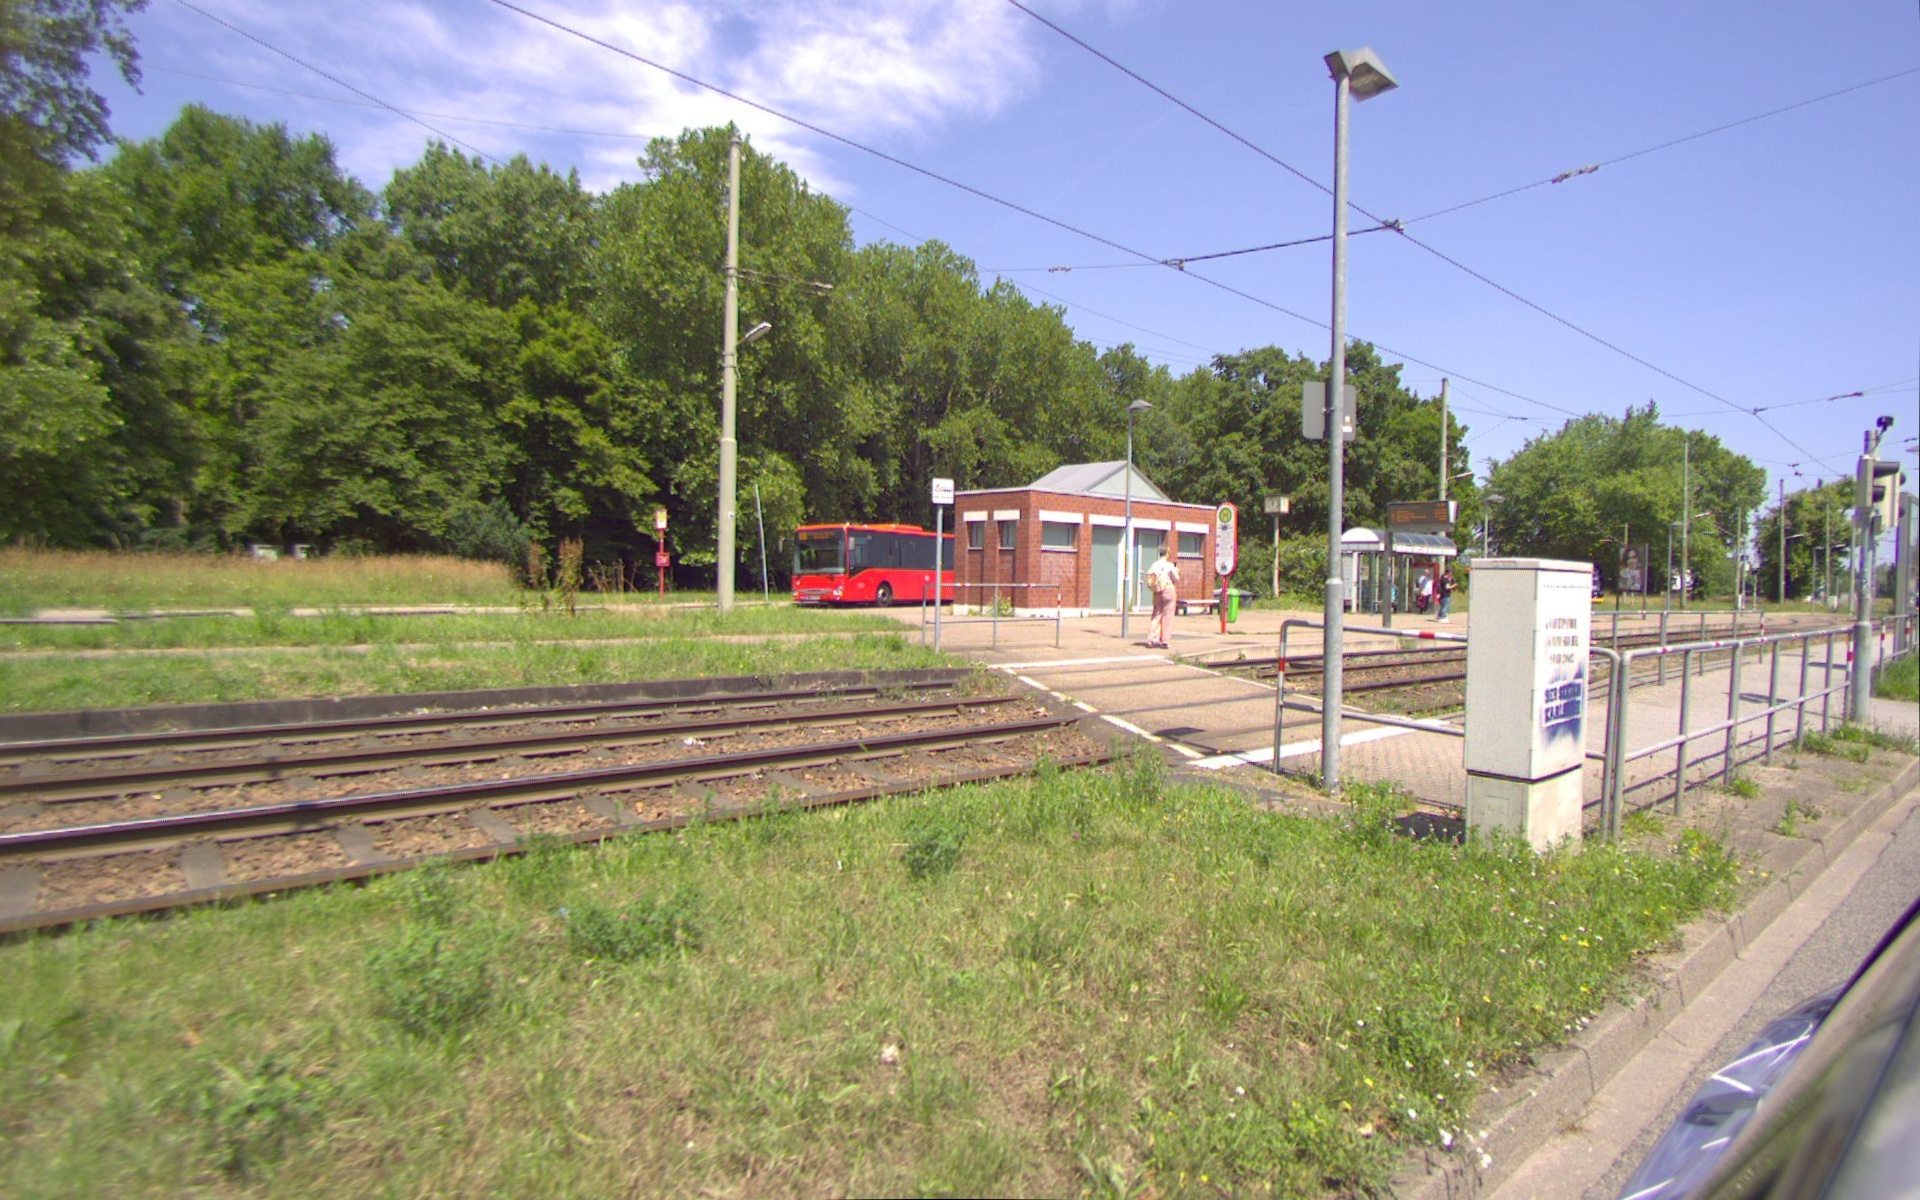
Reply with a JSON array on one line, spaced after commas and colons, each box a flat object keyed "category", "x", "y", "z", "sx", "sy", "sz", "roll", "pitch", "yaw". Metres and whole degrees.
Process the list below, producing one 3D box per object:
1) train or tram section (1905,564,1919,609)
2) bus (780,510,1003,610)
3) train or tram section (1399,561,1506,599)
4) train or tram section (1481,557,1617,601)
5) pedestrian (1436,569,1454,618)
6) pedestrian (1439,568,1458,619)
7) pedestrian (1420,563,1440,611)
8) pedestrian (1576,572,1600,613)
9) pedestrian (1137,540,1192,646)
[{"category": "train or tram section", "x": 74.136, "y": -1.002, "z": 76.861, "sx": 7.131, "sy": 3.364, "sz": 2.524, "roll": 0, "pitch": 2, "yaw": -40}, {"category": "bus", "x": -2.281, "y": -1.513, "z": 41.353, "sx": 2.744, "sy": 3.482, "sz": 12.316, "roll": -1, "pitch": 1, "yaw": 30}, {"category": "train or tram section", "x": 51.194, "y": -2.013, "z": 105.887, "sx": 2.659, "sy": 3.695, "sz": 13.275, "roll": -1, "pitch": 1, "yaw": -10}, {"category": "train or tram section", "x": 53.670, "y": -1.857, "z": 92.934, "sx": 2.659, "sy": 3.695, "sz": 13.211, "roll": -1, "pitch": 1, "yaw": -12}, {"category": "pedestrian", "x": 16.193, "y": -0.209, "z": 33.808, "sx": 0.474, "sy": 1.616, "sz": 0.361, "roll": -1, "pitch": 0, "yaw": -38}, {"category": "pedestrian", "x": 16.084, "y": -0.209, "z": 33.320, "sx": 0.437, "sy": 1.666, "sz": 0.361, "roll": 0, "pitch": 1, "yaw": -38}, {"category": "pedestrian", "x": 17.879, "y": -0.496, "z": 38.516, "sx": 0.726, "sy": 1.796, "sz": 0.382, "roll": -1, "pitch": 0, "yaw": -38}, {"category": "pedestrian", "x": 27.544, "y": -0.344, "z": 44.396, "sx": 0.646, "sy": 1.786, "sz": 0.707, "roll": 0, "pitch": 2, "yaw": -39}, {"category": "pedestrian", "x": 3.532, "y": -0.126, "z": 17.484, "sx": 0.633, "sy": 1.781, "sz": 0.806, "roll": -1, "pitch": 0, "yaw": 36}]
